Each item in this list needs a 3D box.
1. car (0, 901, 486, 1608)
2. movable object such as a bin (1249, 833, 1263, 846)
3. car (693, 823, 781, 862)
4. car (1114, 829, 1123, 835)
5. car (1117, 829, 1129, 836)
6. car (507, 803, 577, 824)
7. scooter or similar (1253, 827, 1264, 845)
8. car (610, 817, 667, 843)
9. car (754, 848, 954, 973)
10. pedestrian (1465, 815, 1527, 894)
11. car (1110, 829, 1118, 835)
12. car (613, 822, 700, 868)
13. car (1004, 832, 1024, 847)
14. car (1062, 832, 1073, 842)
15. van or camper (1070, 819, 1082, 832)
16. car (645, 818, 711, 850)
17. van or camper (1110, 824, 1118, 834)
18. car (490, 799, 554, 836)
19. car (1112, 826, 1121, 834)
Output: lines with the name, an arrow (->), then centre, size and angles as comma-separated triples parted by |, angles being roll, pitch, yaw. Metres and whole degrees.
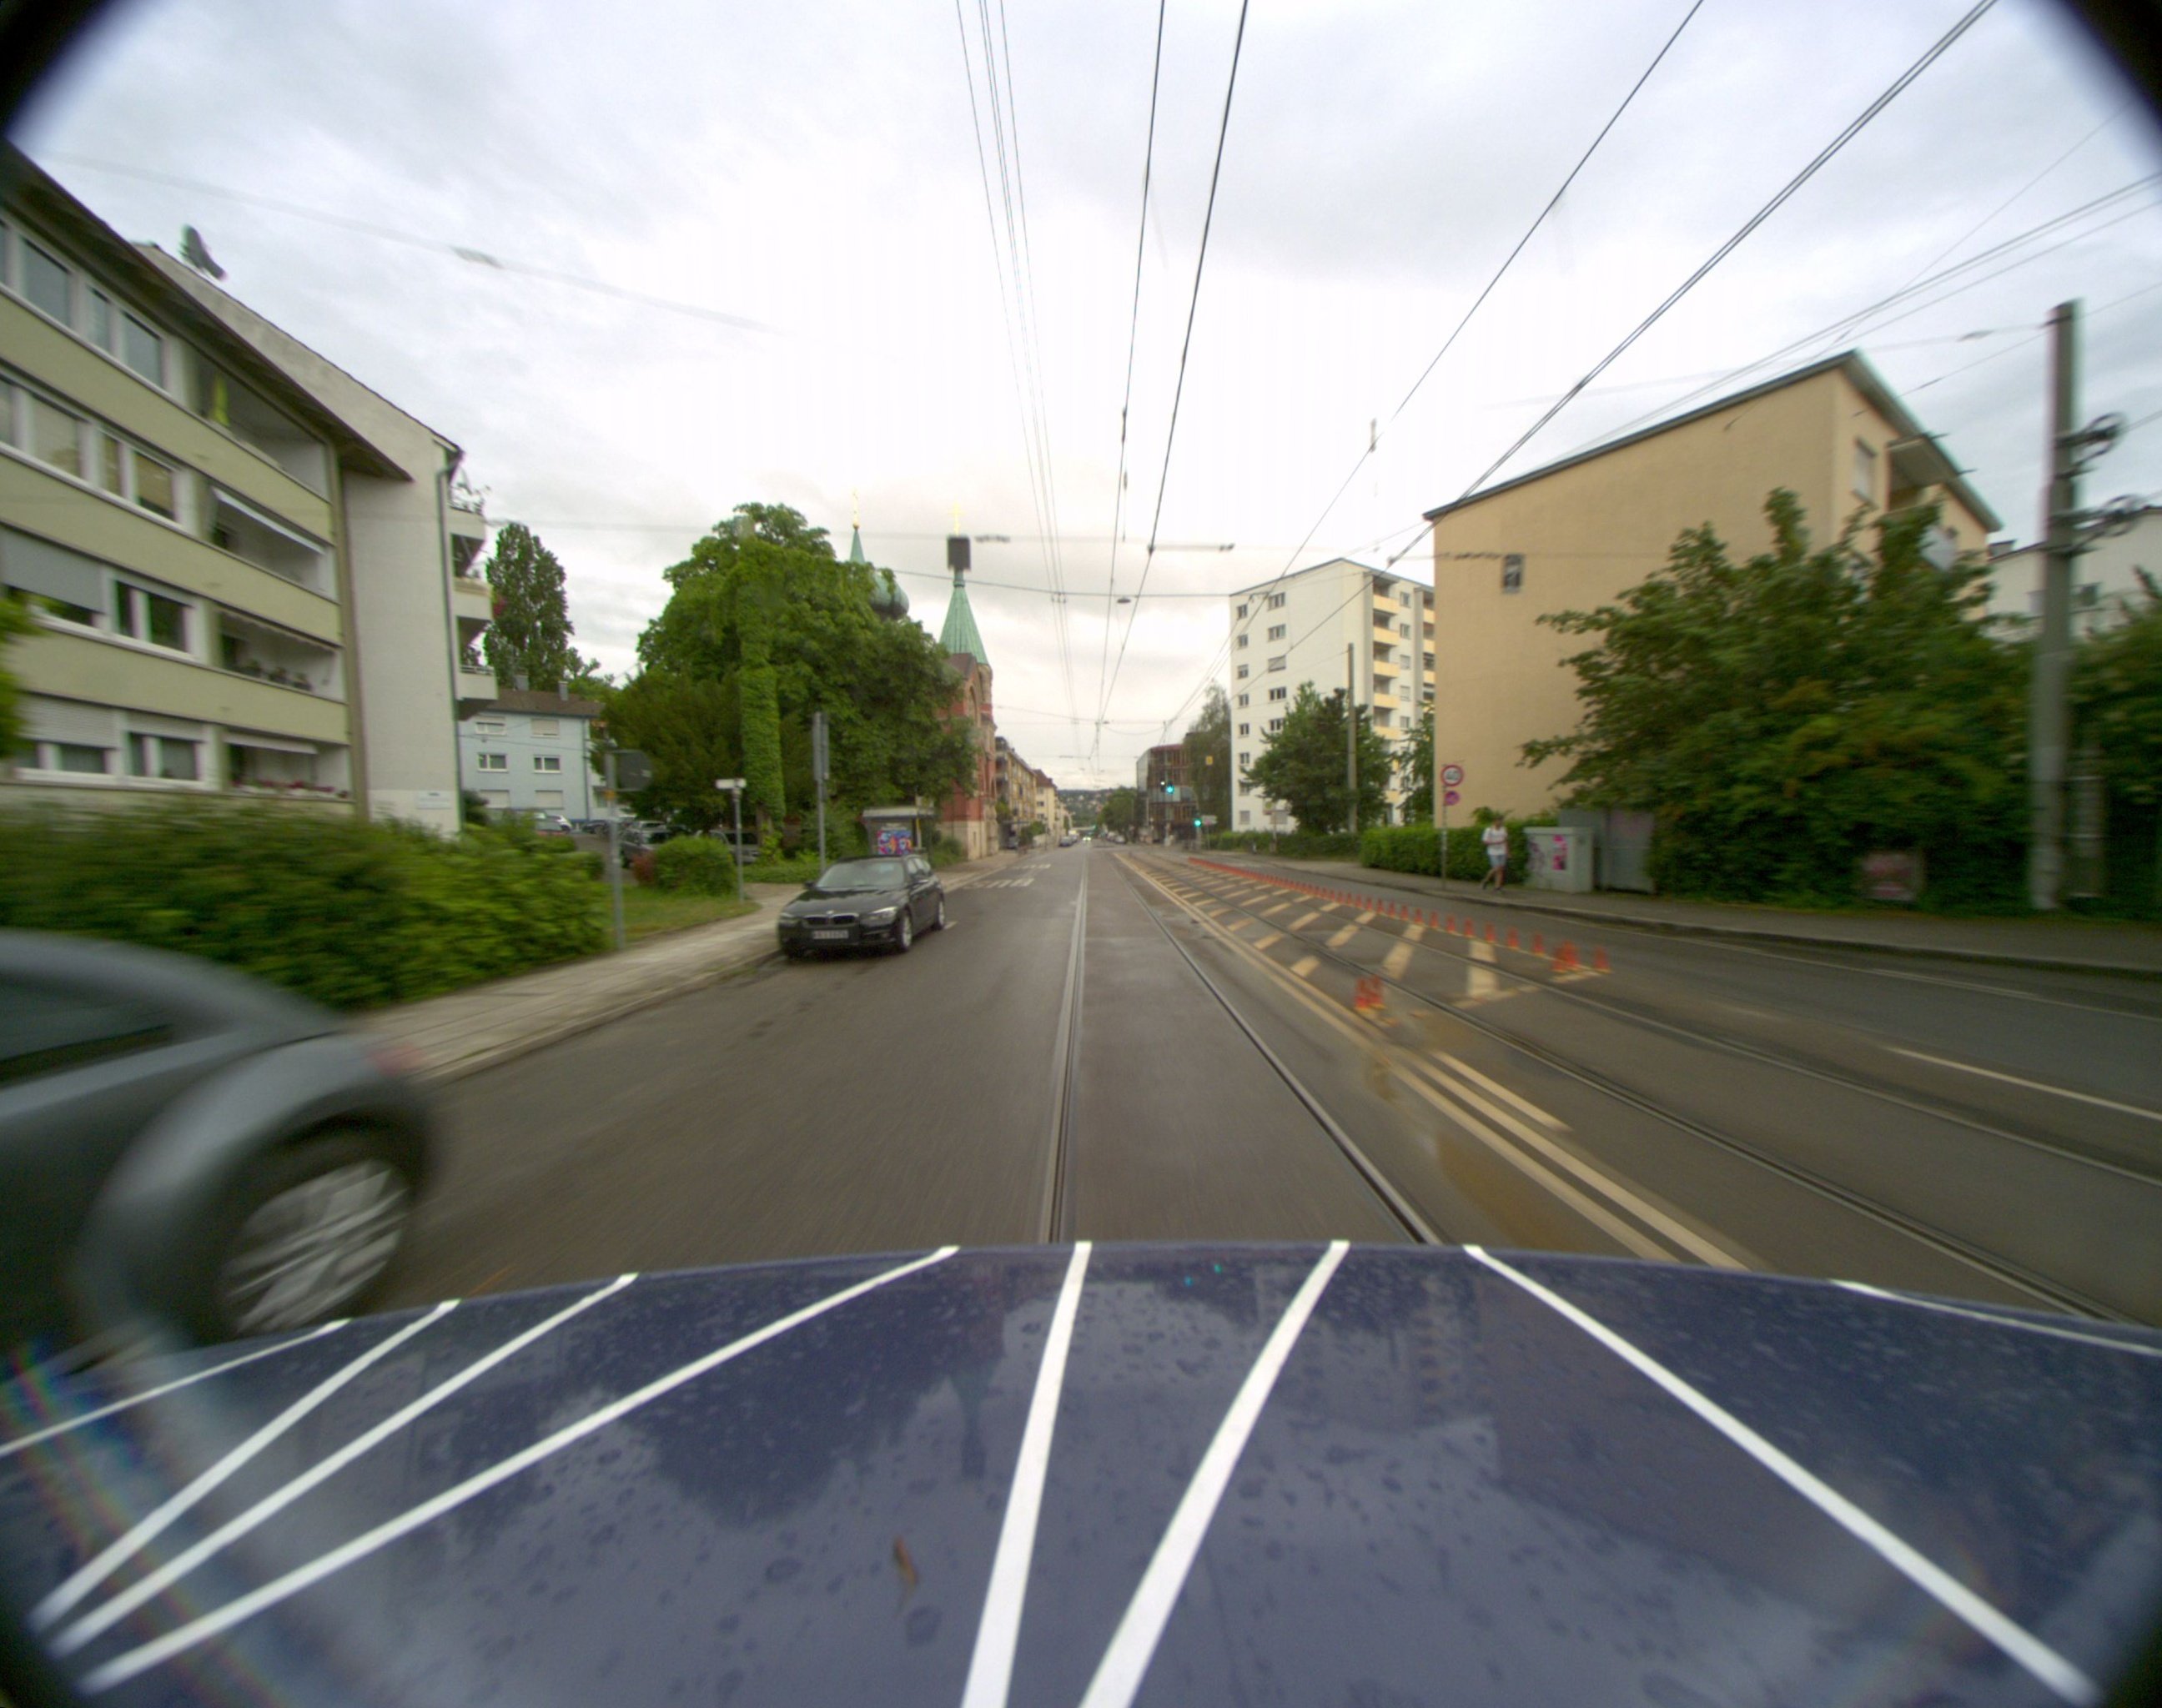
car -> -3.415, 1.030, 0.992 | 1.945, 1.456, 4.204 | -2, 2, -1
movable object such as a bin -> 12.323, -1.005, 53.495 | 0.688, 0.877, 0.759 | -2, 4, -5
car -> -15.125, -0.518, 33.330 | 4.371, 1.550, 1.845 | 1, 4, 42
car -> 9.000, -5.243, 181.232 | 1.881, 1.391, 3.997 | -1, 3, -2
car -> 7.755, -3.990, 141.257 | 1.862, 1.387, 4.643 | -1, 2, 0
car -> -39.615, -2.961, 55.863 | 4.007, 1.398, 1.823 | -2, 2, -40
scooter or similar -> 12.055, -1.230, 51.612 | 0.573, 1.178, 1.600 | -2, 4, 9
car -> -25.757, -1.402, 44.203 | 3.824, 1.437, 1.747 | 1, 4, 43
car -> -3.405, 0.731, 12.441 | 1.863, 1.479, 4.643 | -2, 2, -1
pedestrian -> 10.216, -0.013, 18.745 | 0.921, 1.836, 1.016 | -3, 3, -5
car -> 9.010, -5.968, 206.761 | 1.998, 1.566, 3.997 | -2, 3, 0
car -> -17.351, -0.400, 30.991 | 4.189, 1.686, 1.845 | 1, 4, 43
car -> -8.122, -1.785, 92.643 | 1.858, 1.495, 4.446 | 2, 4, 1
car -> -2.178, -2.856, 124.141 | 1.734, 1.452, 4.475 | -2, 3, 0
van or camper -> -1.212, -7.226, 193.308 | 2.754, 3.042, 7.027 | -2, 3, 2
car -> -21.689, -1.072, 40.824 | 3.984, 1.556, 1.845 | 1, 4, 43
van or camper -> 9.188, -6.974, 212.710 | 2.143, 2.589, 5.547 | -2, 3, 2
car -> -31.998, -2.054, 43.464 | 3.988, 1.967, 2.003 | 1, 5, 42
car -> 8.776, -5.864, 186.292 | 1.881, 1.700, 3.997 | -1, 3, -2
